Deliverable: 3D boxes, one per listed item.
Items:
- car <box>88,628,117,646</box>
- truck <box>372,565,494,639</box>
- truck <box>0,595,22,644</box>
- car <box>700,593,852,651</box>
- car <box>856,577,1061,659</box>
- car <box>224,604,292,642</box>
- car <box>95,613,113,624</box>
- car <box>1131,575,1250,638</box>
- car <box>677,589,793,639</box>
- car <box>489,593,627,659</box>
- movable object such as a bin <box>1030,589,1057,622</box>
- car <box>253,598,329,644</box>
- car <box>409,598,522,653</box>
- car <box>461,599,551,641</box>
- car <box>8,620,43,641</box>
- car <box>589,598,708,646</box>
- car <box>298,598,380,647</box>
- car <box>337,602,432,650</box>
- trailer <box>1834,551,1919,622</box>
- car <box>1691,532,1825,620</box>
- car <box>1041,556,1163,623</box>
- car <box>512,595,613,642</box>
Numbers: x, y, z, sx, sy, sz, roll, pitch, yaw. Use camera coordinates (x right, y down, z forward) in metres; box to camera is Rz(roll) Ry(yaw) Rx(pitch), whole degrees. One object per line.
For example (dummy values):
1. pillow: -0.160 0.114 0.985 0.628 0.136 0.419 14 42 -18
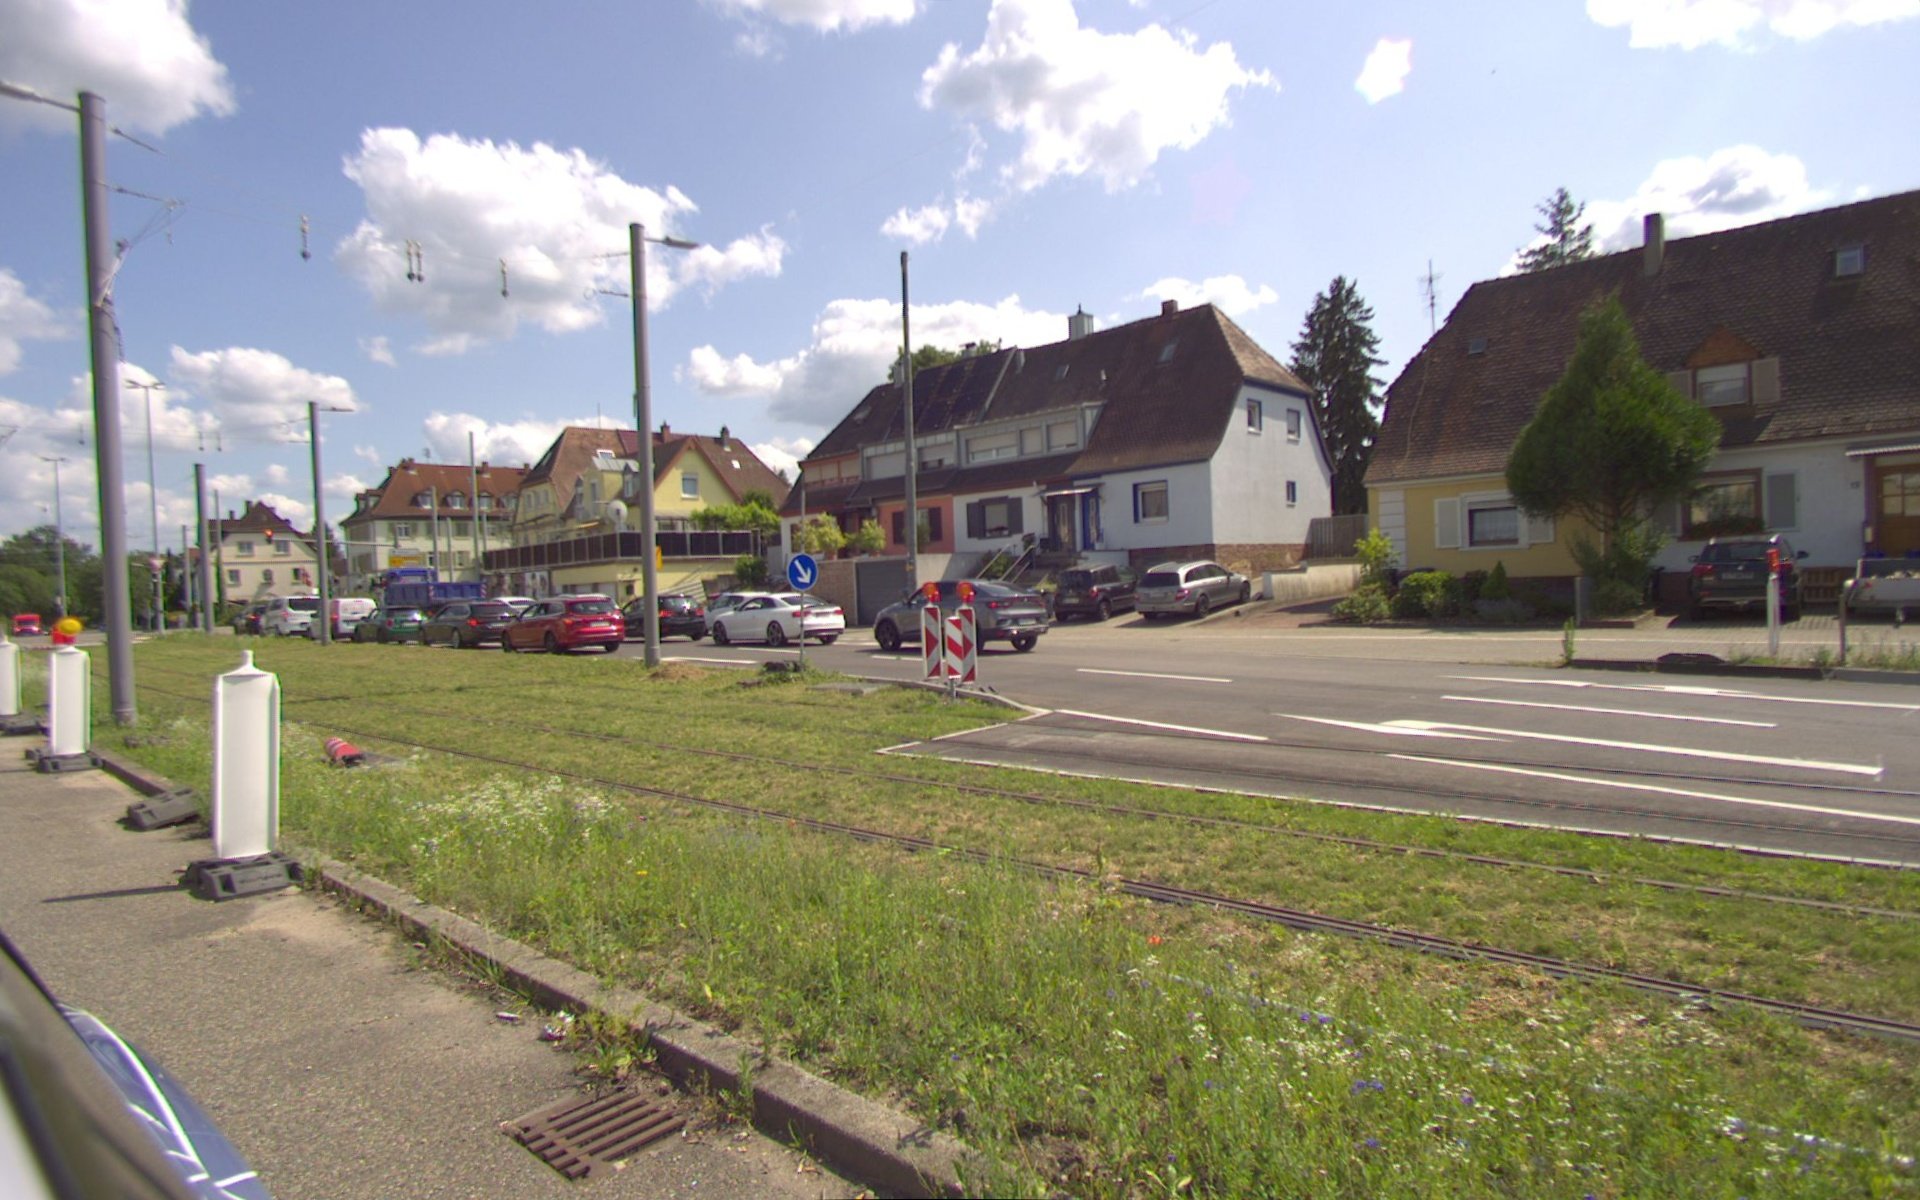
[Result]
1. car: -95.162 4.085 112.356 2.250 1.886 4.994 -3 1 -40
2. truck: -24.881 0.122 47.563 2.803 3.177 7.939 -3 1 -44
3. truck: -109.208 2.262 115.075 3.426 5.222 14.234 -3 1 -42
4. car: -4.983 0.580 27.005 1.705 1.344 4.545 -3 1 -44
5. car: -0.156 0.377 22.035 1.704 1.538 4.777 -3 1 -41
6. car: -35.861 1.184 51.659 4.541 1.794 1.897 -2 1 43
7. car: -129.270 2.805 152.842 1.698 1.603 4.175 -3 1 -44
8. car: 6.543 0.152 28.490 1.680 1.566 3.840 -2 1 39
9. car: -7.942 0.506 35.493 4.543 1.574 1.706 -2 1 44
10. car: -10.916 0.692 27.336 4.543 1.574 1.706 -2 1 44
11. movable object such as a bin: 2.537 0.168 30.902 0.610 0.959 0.511 -2 1 42
12. car: -31.216 0.981 47.163 4.541 1.979 1.897 -2 1 43
13. car: -15.819 0.810 32.288 4.645 1.574 1.706 -2 1 44
14. car: -18.734 0.830 41.652 4.541 1.574 1.707 -2 1 43
15. car: -91.389 2.930 99.012 2.251 1.886 4.993 -3 1 -40
16. car: -9.957 0.694 32.115 1.705 1.344 4.545 -3 1 -44
17. car: -25.731 0.919 41.879 4.541 1.868 1.707 -2 1 43
18. car: -21.166 0.942 37.170 4.541 1.574 1.707 -2 1 43
19. trailer: 17.272 -0.312 18.353 1.958 1.133 4.873 -2 1 39
20. car: 15.879 -0.487 20.078 1.707 1.556 3.841 -2 1 44
21. car: 4.316 -0.349 30.448 1.801 1.859 3.948 -2 1 39
22. car: -14.711 0.672 37.331 4.543 1.574 1.706 -2 1 44
